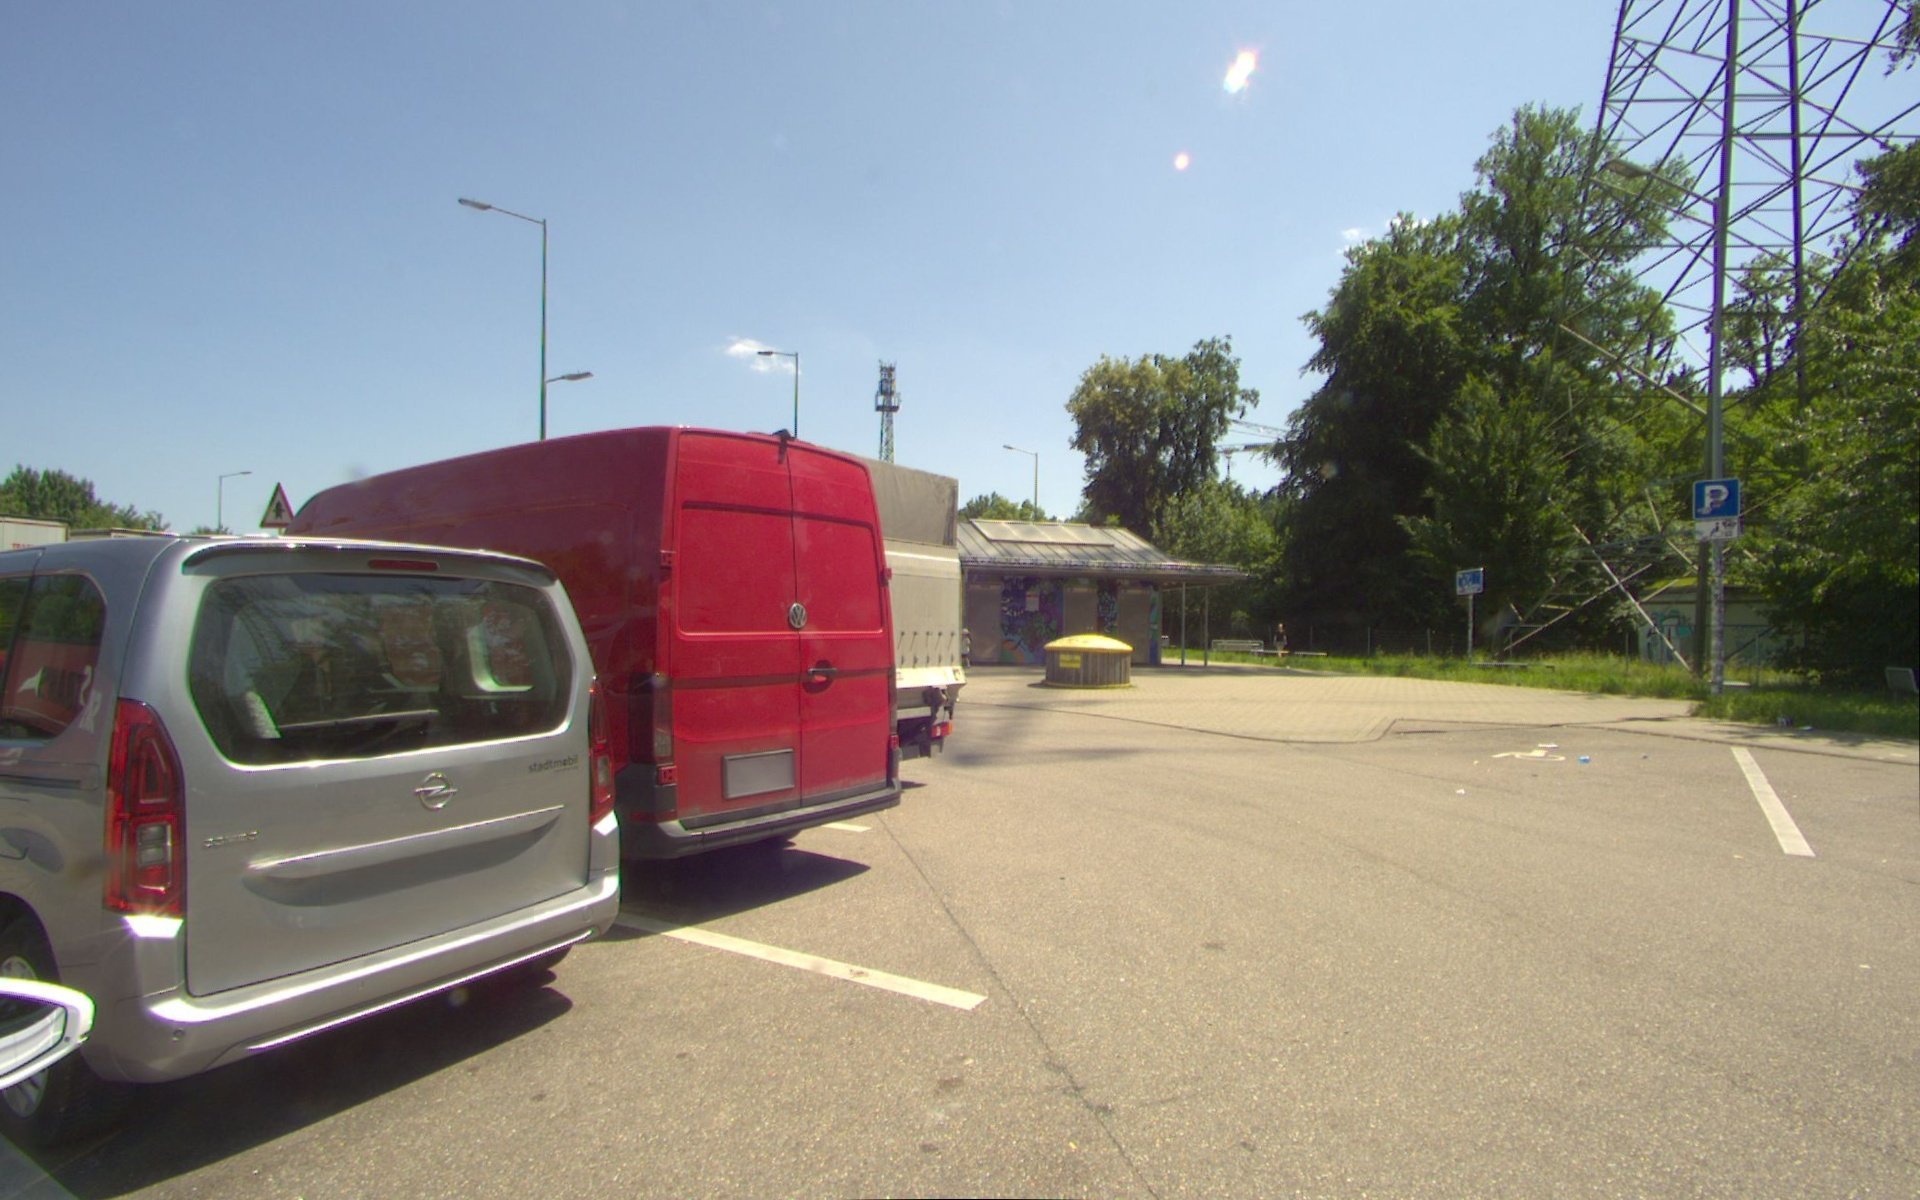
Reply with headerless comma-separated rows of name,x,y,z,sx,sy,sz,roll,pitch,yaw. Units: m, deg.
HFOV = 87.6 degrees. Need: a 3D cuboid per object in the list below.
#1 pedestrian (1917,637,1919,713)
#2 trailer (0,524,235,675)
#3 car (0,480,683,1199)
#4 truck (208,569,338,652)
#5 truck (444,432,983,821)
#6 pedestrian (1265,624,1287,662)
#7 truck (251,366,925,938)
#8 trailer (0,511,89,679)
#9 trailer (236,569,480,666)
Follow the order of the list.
pedestrian,17.263,1.316,17.476,0.690,1.352,0.561,-1,-1,33
trailer,-27.949,-0.110,31.782,14.184,4.040,2.808,2,-2,33
car,-3.376,0.684,4.246,4.113,1.887,1.868,1,-2,31
truck,-32.091,0.456,46.755,5.813,3.566,2.799,2,-2,32
truck,-2.732,0.301,10.284,5.581,2.949,2.449,-2,-2,37
pedestrian,14.069,1.922,44.567,0.728,1.658,0.787,-1,-1,37
truck,-2.883,0.334,7.045,5.238,2.655,1.972,-2,-2,38
trailer,-29.012,-0.267,28.136,14.184,4.040,2.808,2,-2,33
trailer,-26.096,0.635,42.898,14.184,3.552,2.808,2,-2,33
